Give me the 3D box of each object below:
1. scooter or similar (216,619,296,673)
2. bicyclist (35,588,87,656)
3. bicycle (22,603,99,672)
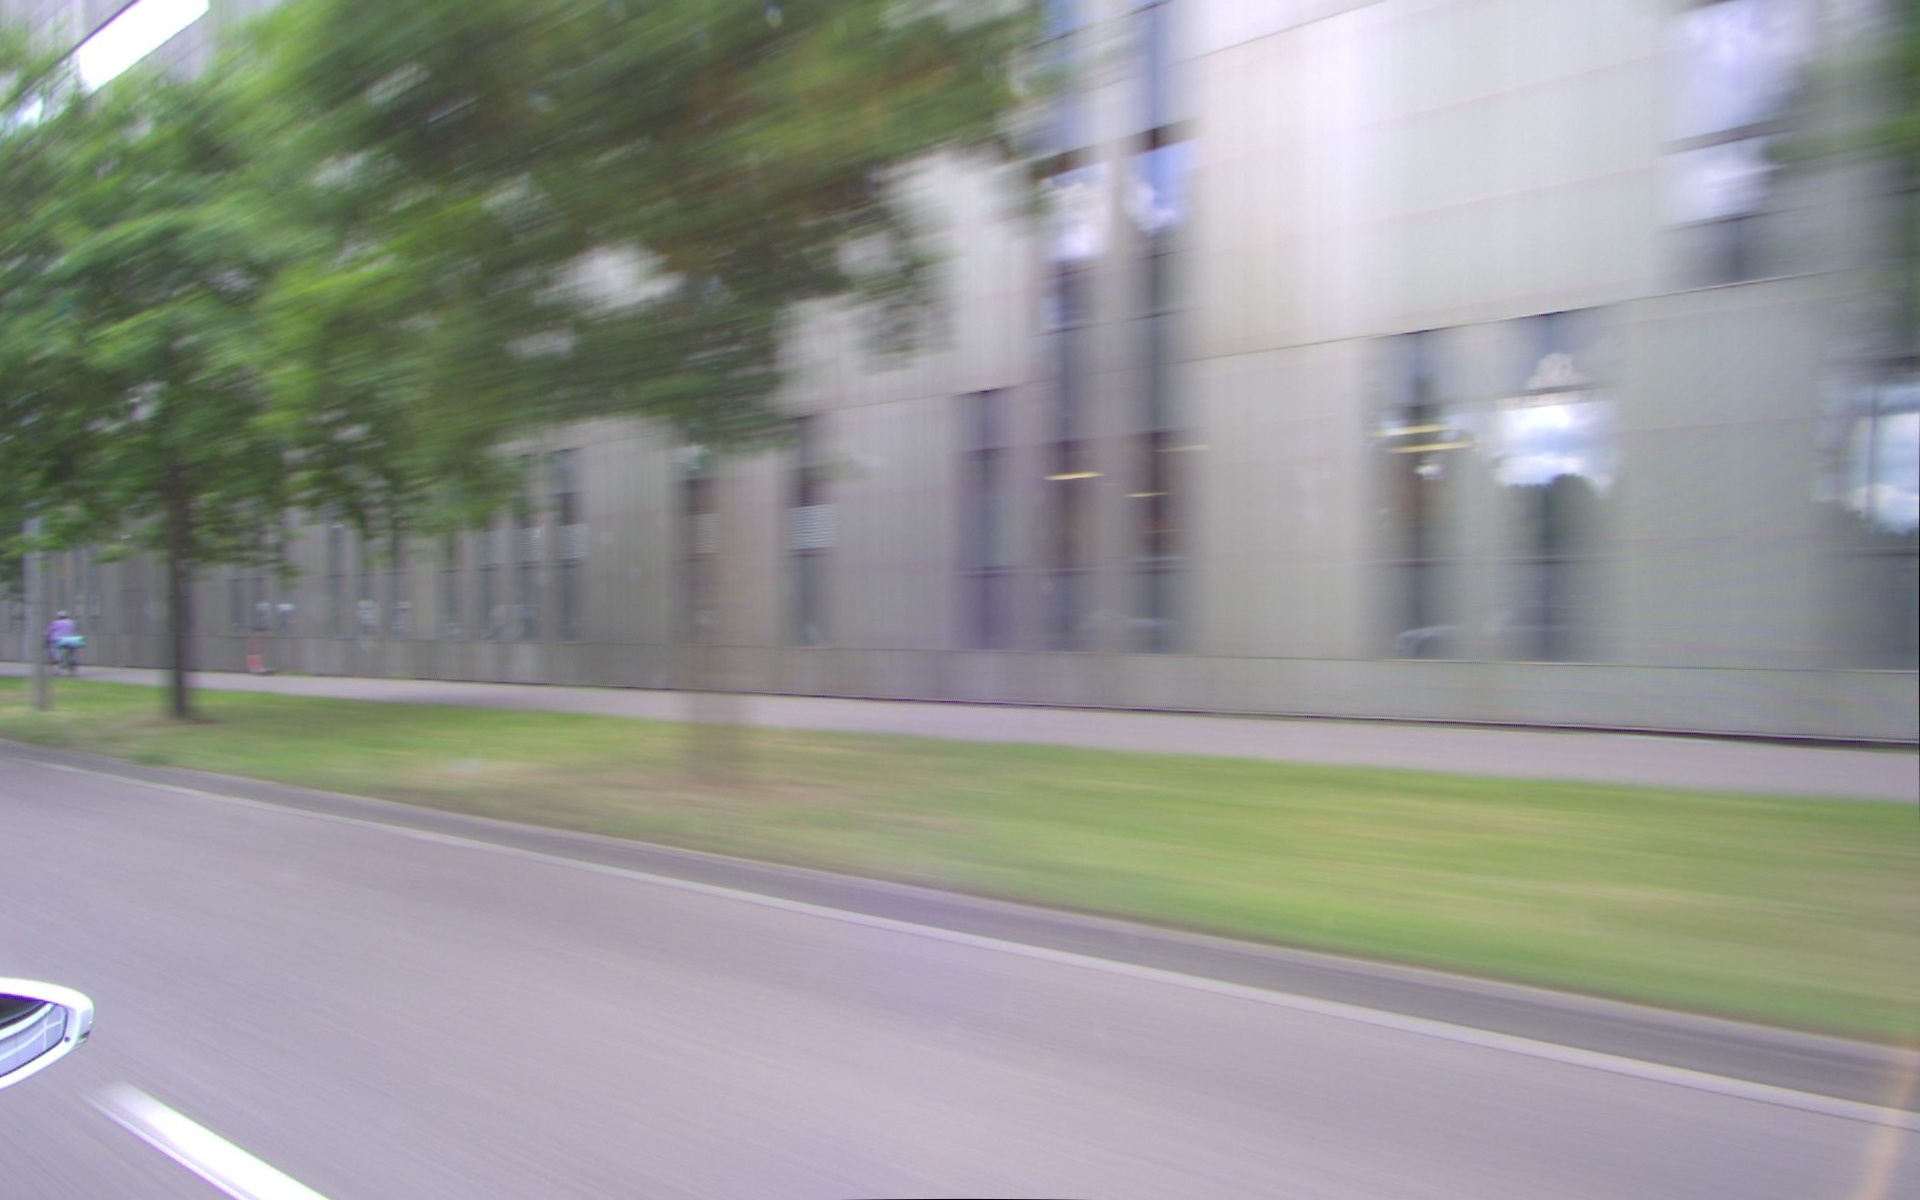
[{"bbox_3d":[-17.436,1.105,24.779,2.444,1.263,0.703,-1,1,33],"label":"scooter or similar"},{"bbox_3d":[-24.169,0.578,26.921,0.973,1.792,0.714,0,1,28],"label":"bicyclist"},{"bbox_3d":[-24.217,0.985,26.957,2.494,1.797,0.719,-1,1,29],"label":"bicycle"}]
